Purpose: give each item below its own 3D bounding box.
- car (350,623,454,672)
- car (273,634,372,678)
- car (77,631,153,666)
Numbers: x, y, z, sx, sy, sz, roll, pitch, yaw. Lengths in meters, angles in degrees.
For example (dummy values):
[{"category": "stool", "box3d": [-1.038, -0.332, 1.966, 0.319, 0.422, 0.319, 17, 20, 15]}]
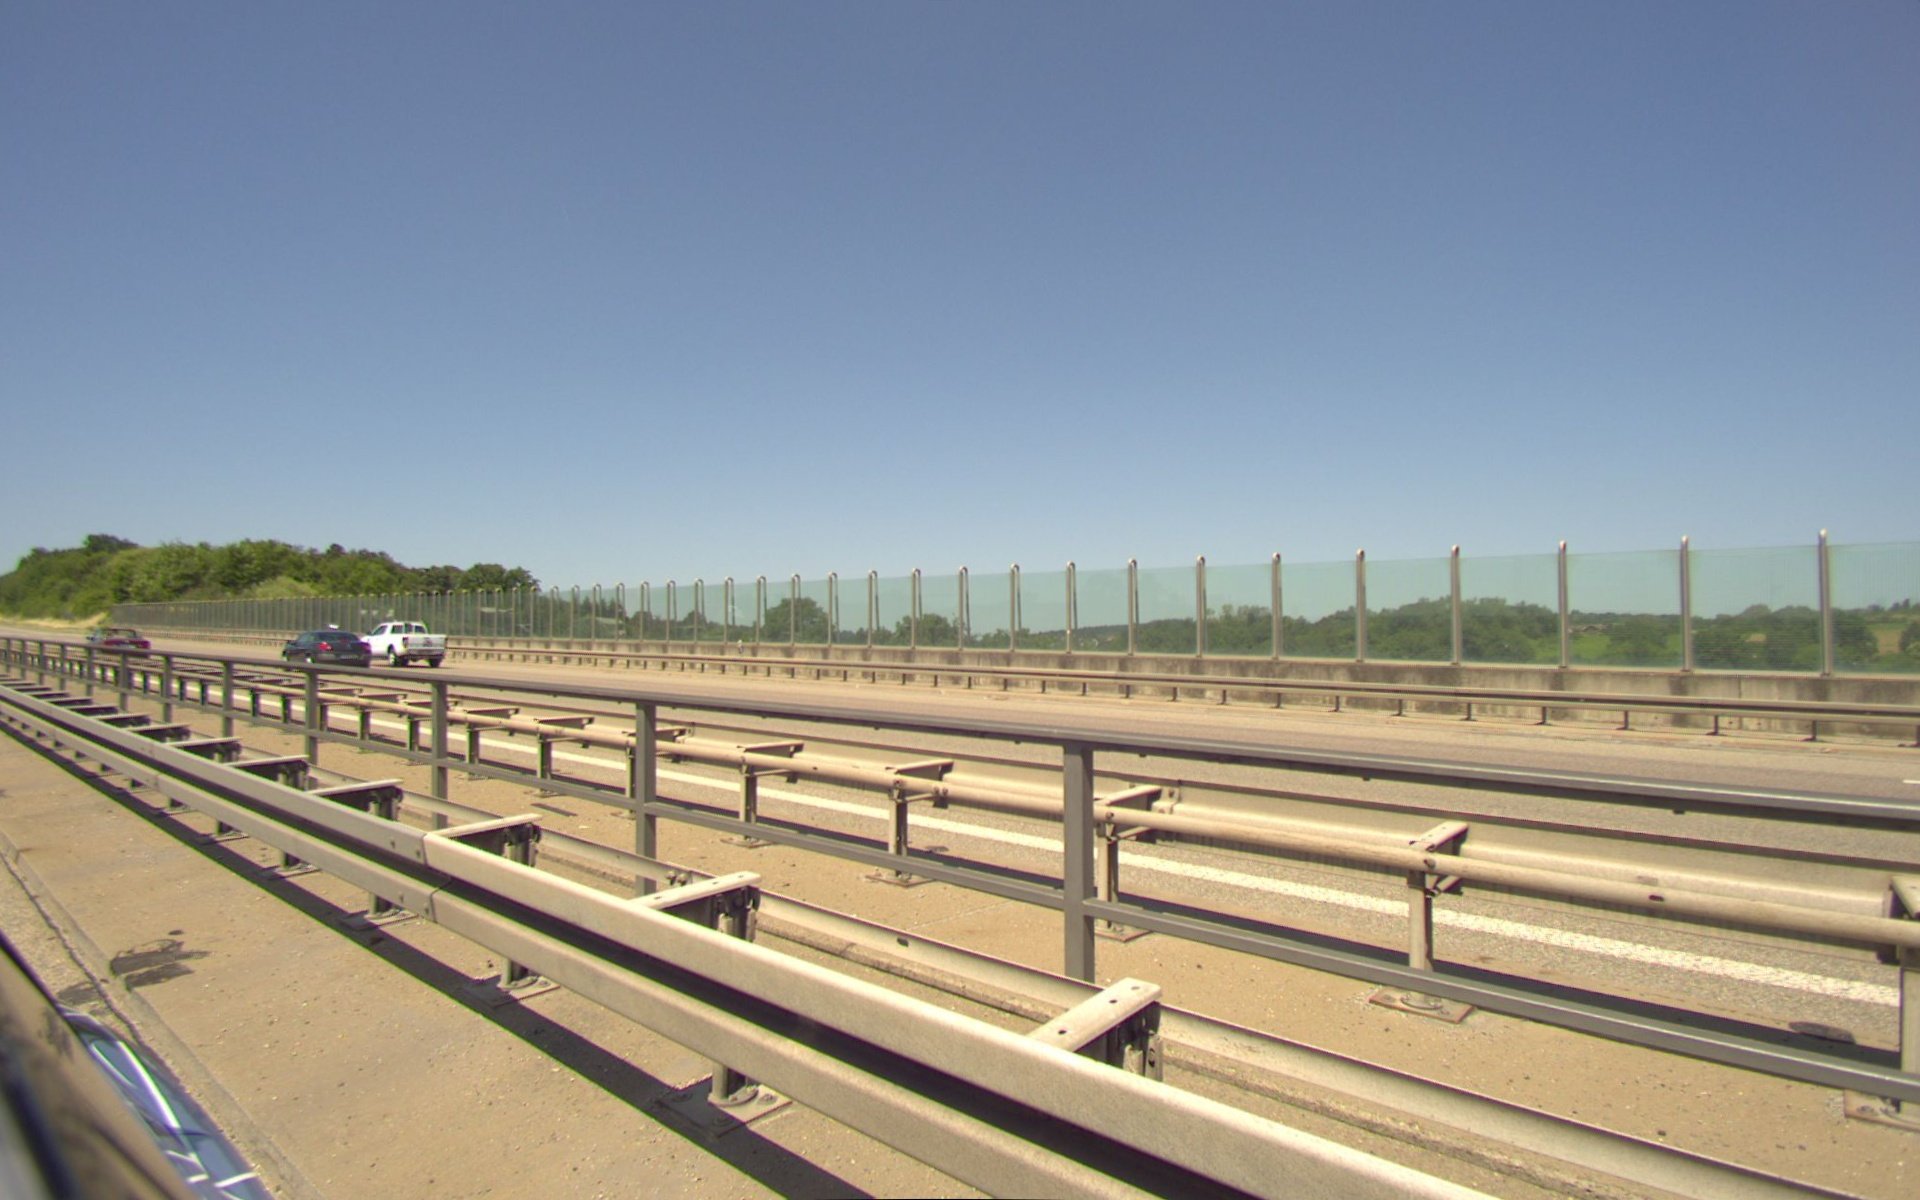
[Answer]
[{"category": "car", "box3d": [-23.090, 1.941, 41.778, 5.252, 1.899, 1.973, -2, -4, 41]}, {"category": "car", "box3d": [-21.102, 1.823, 33.437, 4.177, 1.360, 1.581, -2, -4, 41]}, {"category": "car", "box3d": [-33.186, 1.893, 39.707, 4.339, 1.328, 1.581, -2, -4, 41]}]
